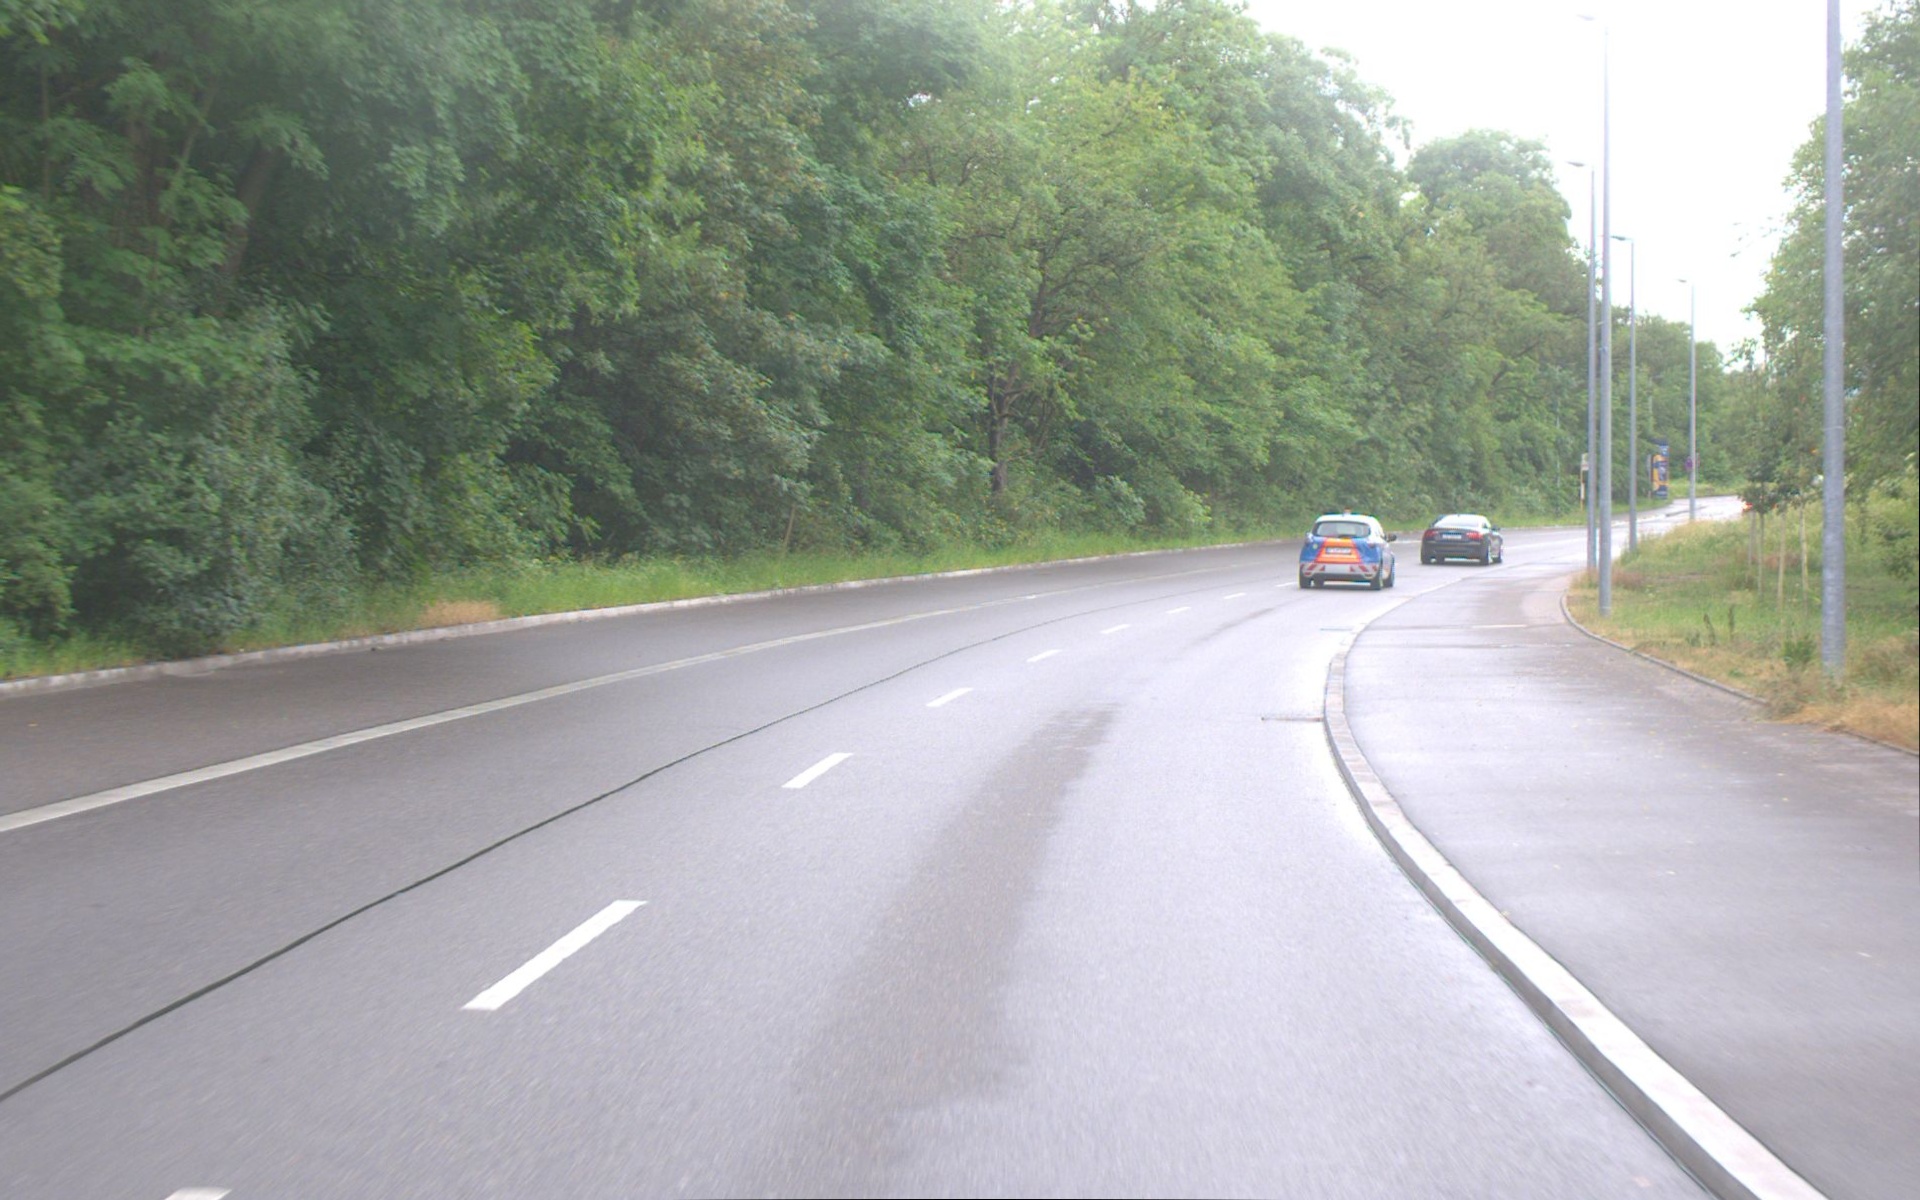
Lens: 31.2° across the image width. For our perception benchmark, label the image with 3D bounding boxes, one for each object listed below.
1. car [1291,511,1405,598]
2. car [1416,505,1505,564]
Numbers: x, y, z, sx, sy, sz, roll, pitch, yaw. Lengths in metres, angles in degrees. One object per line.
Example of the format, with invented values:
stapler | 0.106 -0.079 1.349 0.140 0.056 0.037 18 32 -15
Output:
car | 8.276 -0.994 73.122 1.994 1.683 3.999 0 3 12
car | 13.795 -1.819 94.645 1.928 1.481 3.797 0 3 16
